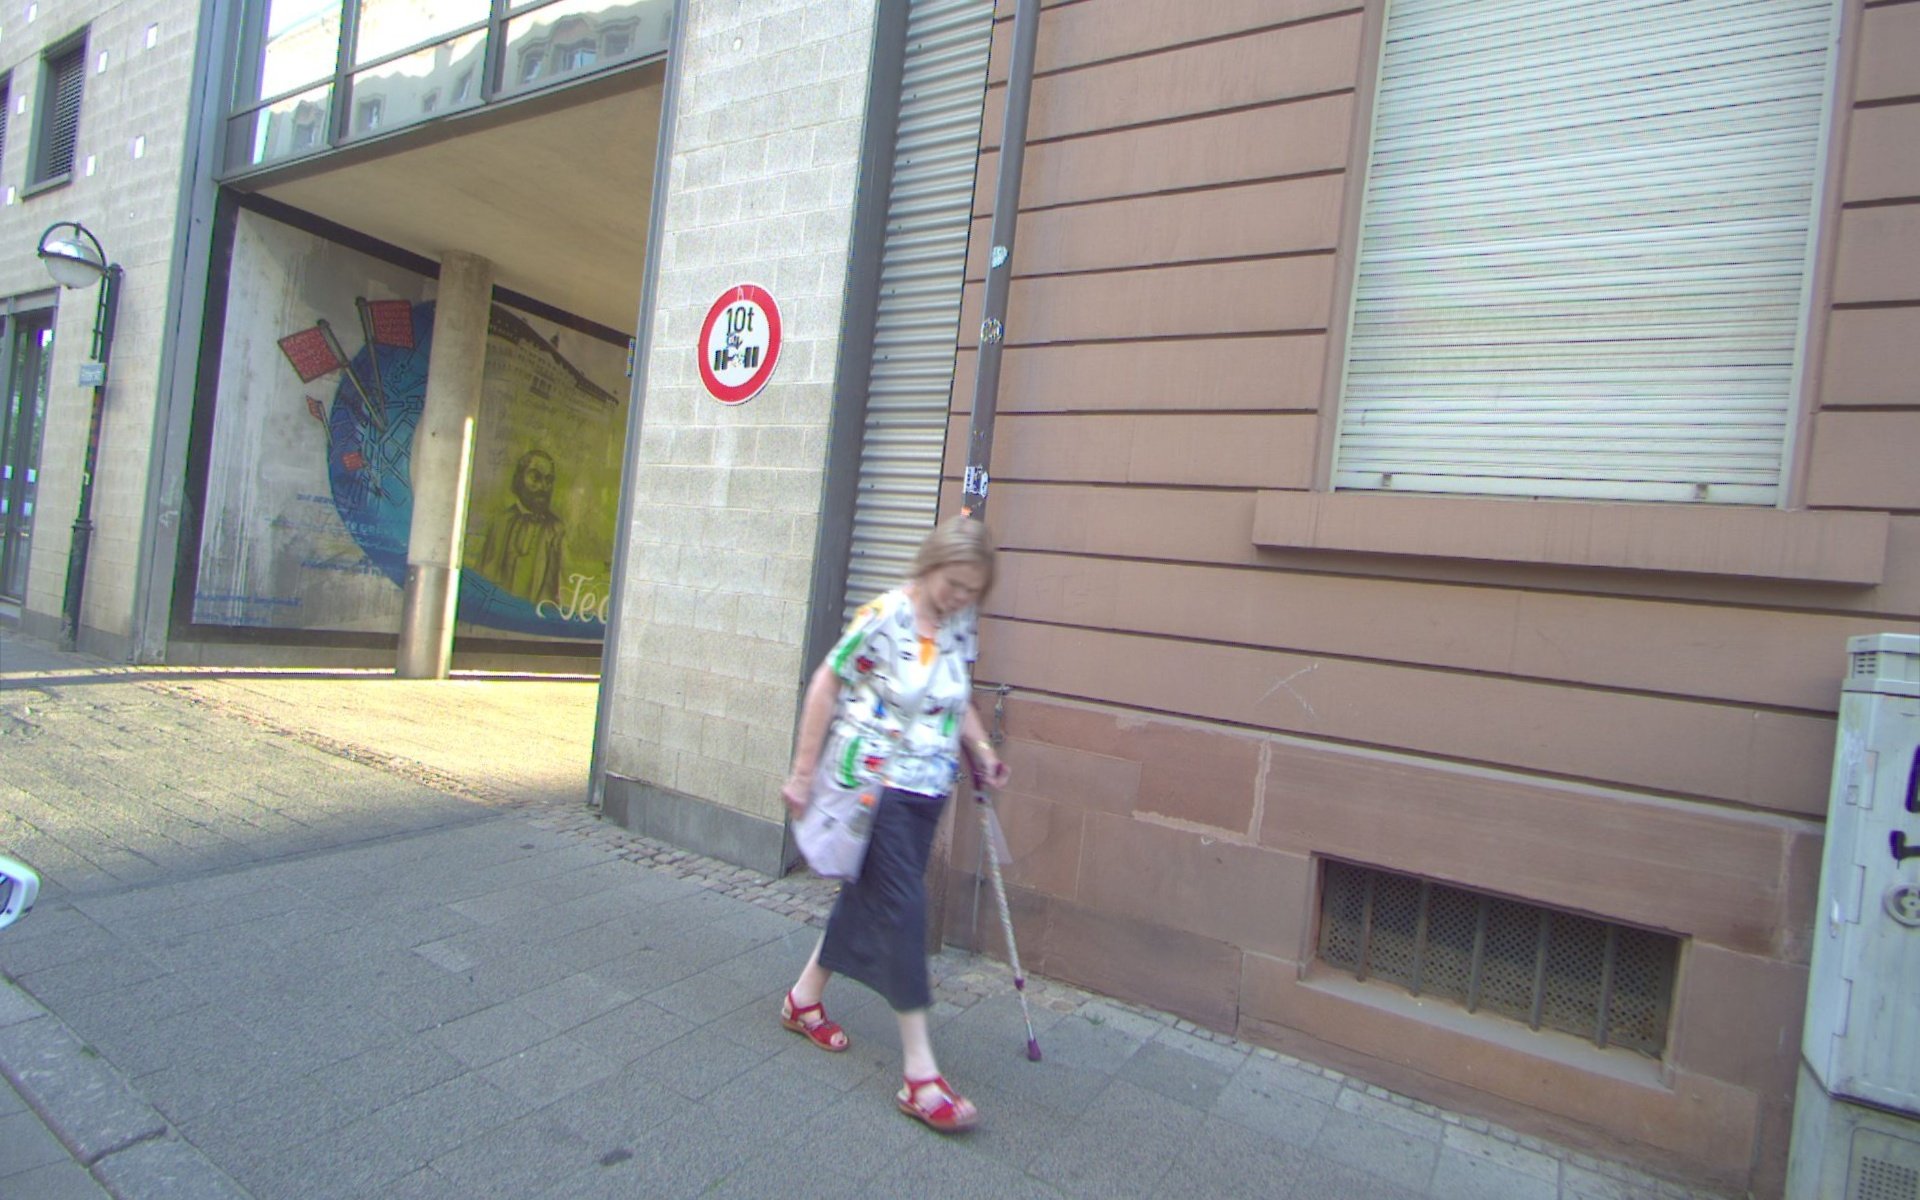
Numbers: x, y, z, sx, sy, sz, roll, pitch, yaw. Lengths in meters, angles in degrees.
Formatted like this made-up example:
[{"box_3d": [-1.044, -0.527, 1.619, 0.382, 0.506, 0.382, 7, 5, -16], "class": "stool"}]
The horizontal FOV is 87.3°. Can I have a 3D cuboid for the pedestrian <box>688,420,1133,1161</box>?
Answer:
[{"box_3d": [-0.143, 0.457, 3.056, 0.883, 1.827, 0.844, 7, 3, 37], "class": "pedestrian"}]
